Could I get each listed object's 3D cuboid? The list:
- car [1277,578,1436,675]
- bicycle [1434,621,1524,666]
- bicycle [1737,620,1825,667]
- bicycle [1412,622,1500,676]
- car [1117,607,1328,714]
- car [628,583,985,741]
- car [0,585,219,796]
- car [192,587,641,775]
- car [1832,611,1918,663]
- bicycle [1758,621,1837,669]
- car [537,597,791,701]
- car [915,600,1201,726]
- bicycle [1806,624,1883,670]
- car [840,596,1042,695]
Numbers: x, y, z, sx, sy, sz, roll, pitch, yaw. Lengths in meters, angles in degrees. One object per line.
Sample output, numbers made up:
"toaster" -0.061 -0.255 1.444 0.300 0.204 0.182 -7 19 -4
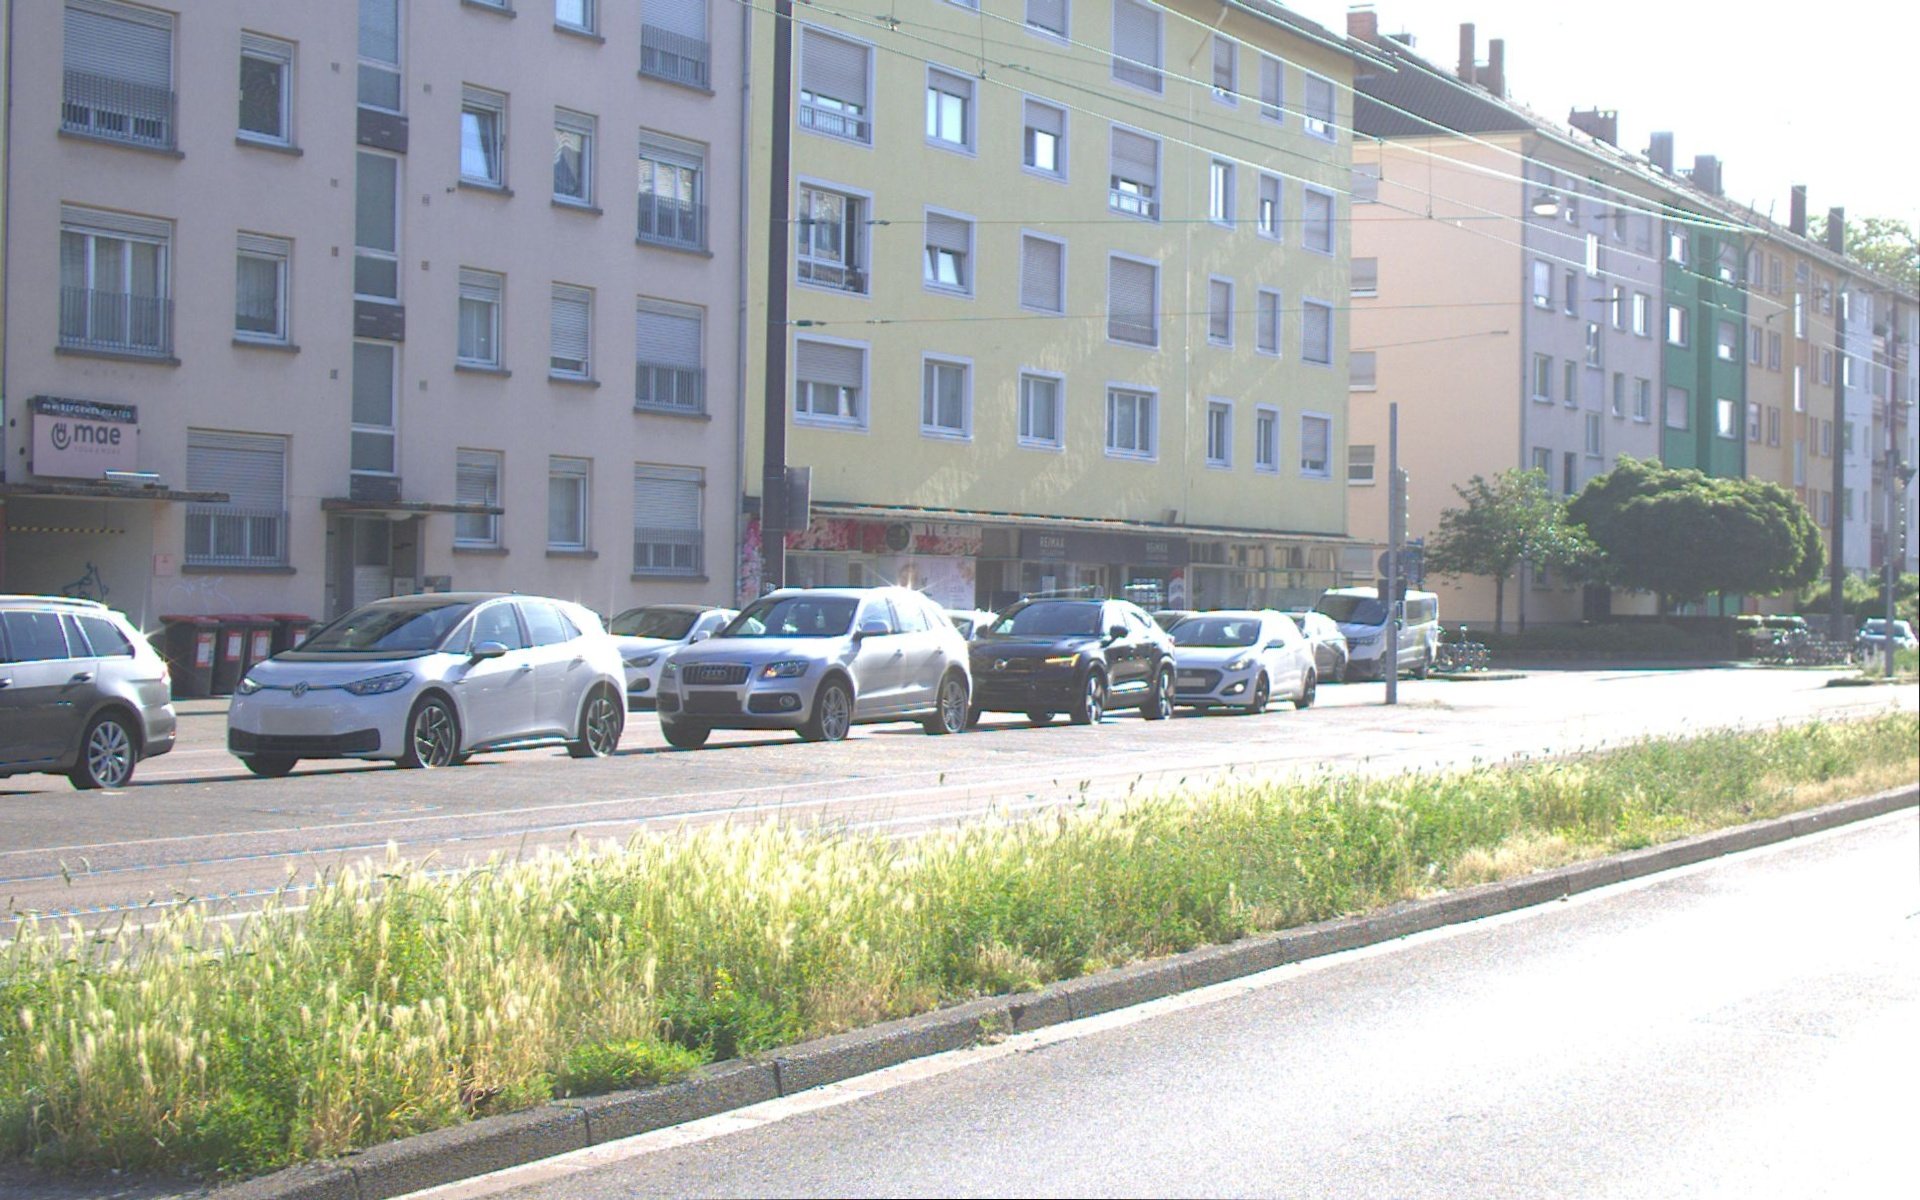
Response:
"car" 9.008 0.618 77.736 2.006 2.099 5.298 1 -1 25
"bicycle" 12.585 1.064 83.355 2.075 1.019 0.803 1 -2 13
"bicycle" 23.614 1.245 98.869 2.311 1.300 0.912 1 -2 23
"bicycle" 11.778 1.167 81.661 1.964 1.202 0.697 2 -2 -1
"car" 3.827 0.873 49.445 1.825 1.441 4.280 1 -1 21
"car" -1.544 0.637 36.566 1.867 1.572 4.624 -1 -1 25
"car" -7.527 0.628 24.653 1.821 1.486 4.534 1 -1 28
"car" -4.662 0.701 30.117 1.841 1.510 4.237 1 -1 24
"car" 28.759 1.169 108.006 1.996 1.448 3.994 1 -2 24
"bicycle" 24.481 1.314 100.471 2.129 1.320 0.896 1 -2 20
"car" -4.242 0.719 49.940 1.779 1.430 4.049 1 -1 27
"car" 1.307 0.796 43.208 1.965 1.475 4.563 1 -1 24
"bicycle" 26.343 1.401 102.372 2.128 1.320 0.896 1 -2 9
"car" -0.278 0.738 57.644 1.834 1.576 3.796 1 0 27
